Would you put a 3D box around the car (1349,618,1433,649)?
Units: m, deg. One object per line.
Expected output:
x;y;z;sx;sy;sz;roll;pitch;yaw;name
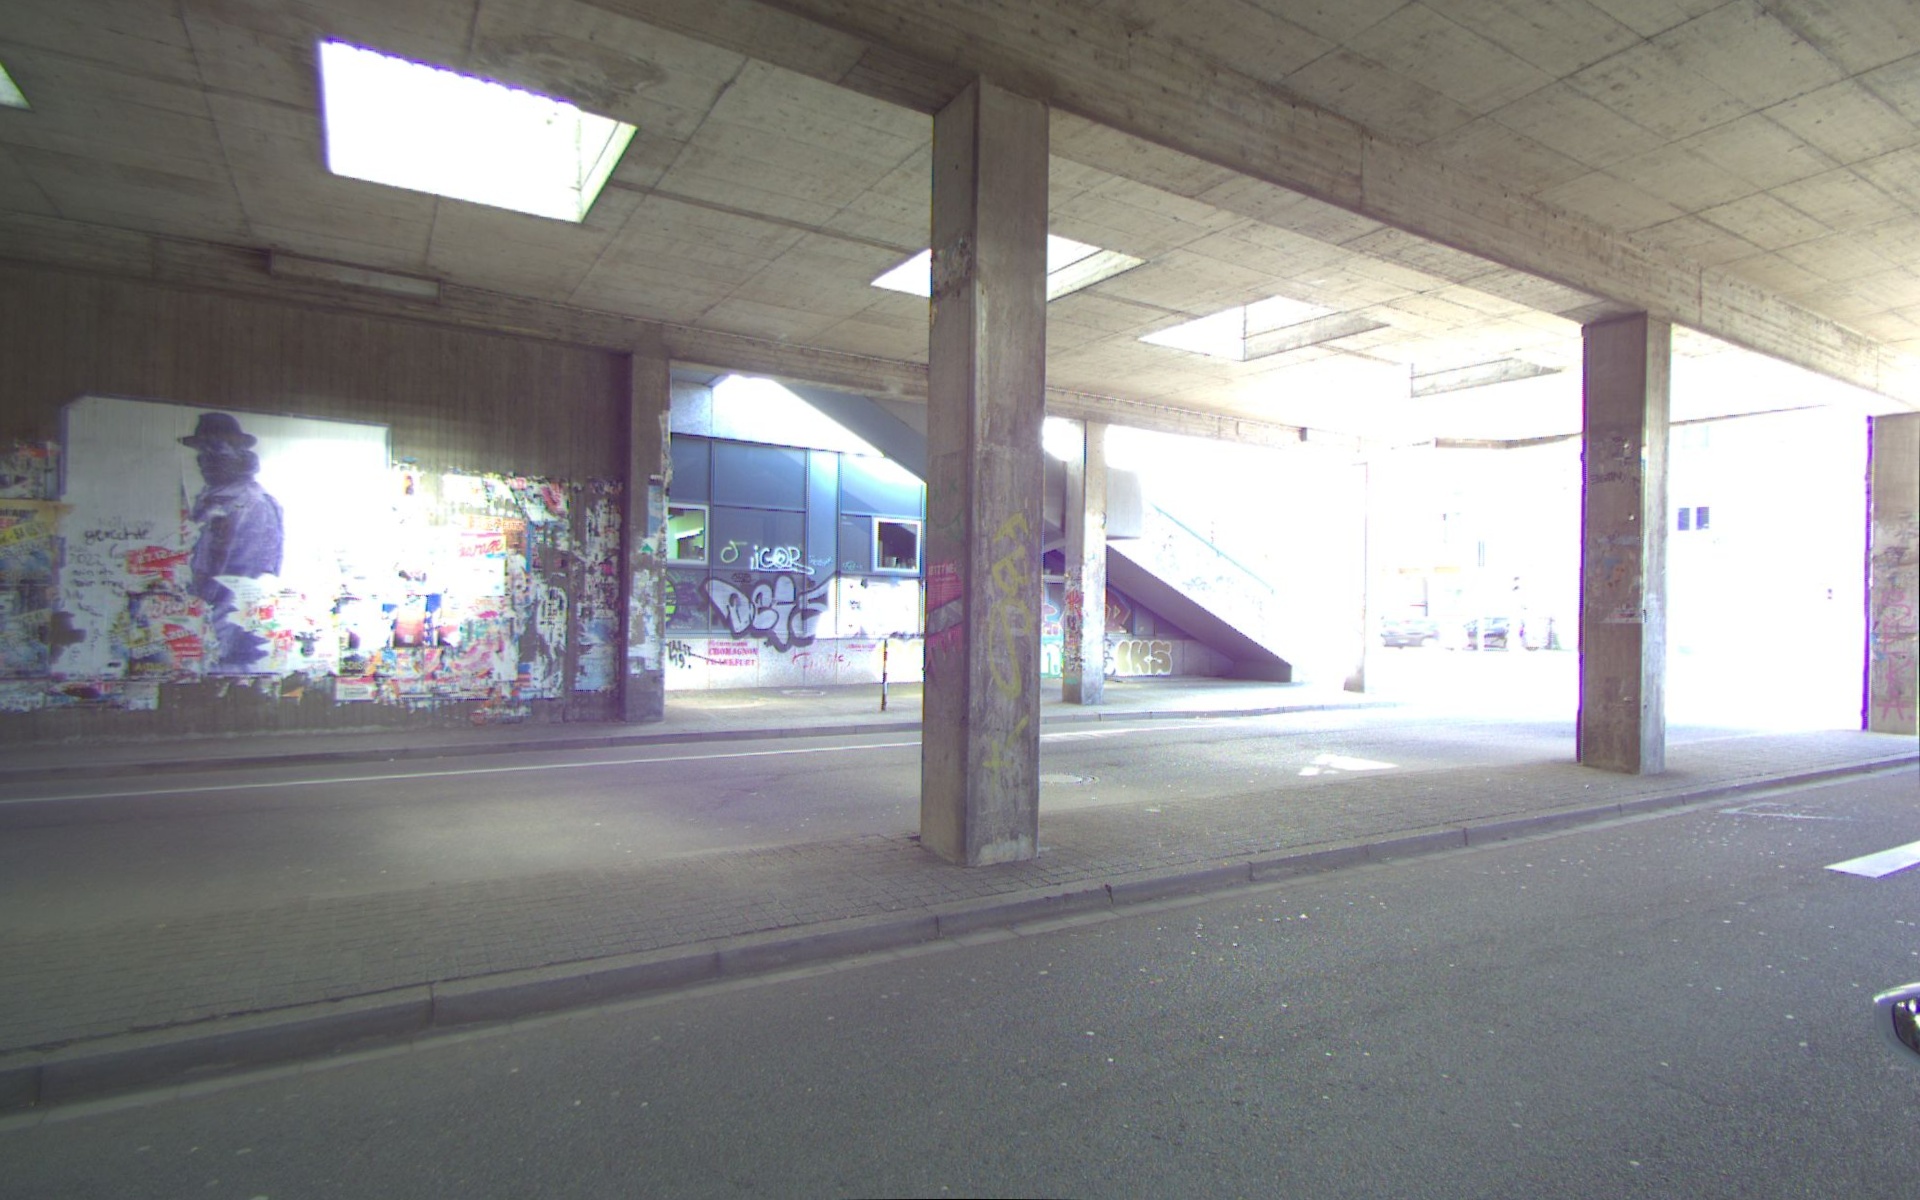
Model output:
22.531;1.746;52.586;1.730;1.495;3.741;2;-1;-31;car

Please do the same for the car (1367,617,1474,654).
20.500;1.558;44.840;1.718;1.495;4.089;2;-1;-31;car

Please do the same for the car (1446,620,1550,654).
25.443;1.725;47.630;1.718;1.495;4.089;2;-1;-31;car
